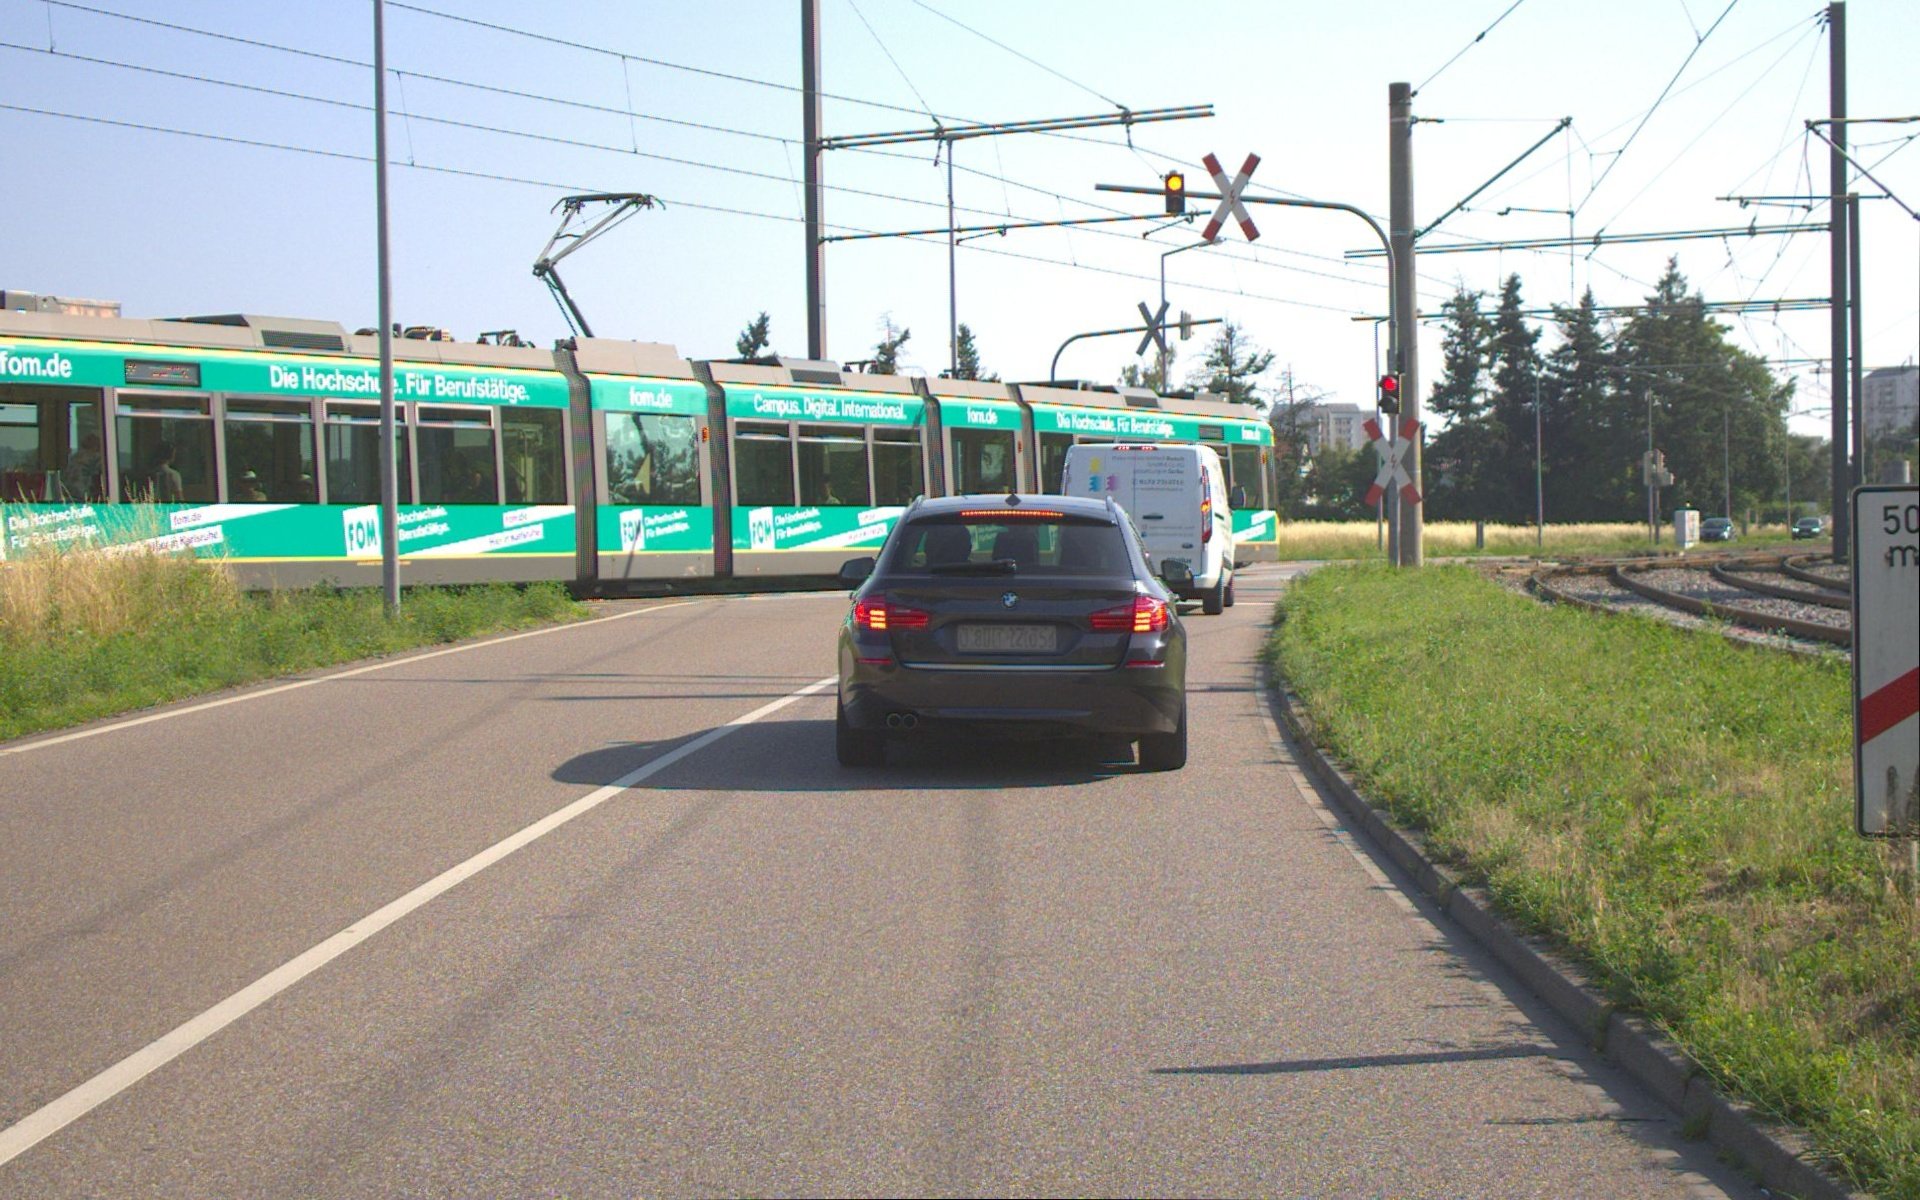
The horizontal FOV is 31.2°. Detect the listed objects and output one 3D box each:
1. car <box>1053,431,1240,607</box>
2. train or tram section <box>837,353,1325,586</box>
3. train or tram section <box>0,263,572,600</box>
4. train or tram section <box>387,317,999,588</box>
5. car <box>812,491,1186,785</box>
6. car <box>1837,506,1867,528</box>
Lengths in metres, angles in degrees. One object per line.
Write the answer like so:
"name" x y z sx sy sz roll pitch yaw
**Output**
"car" 2.318 -0.987 41.549 1.858 1.981 5.107 1 2 8
"train or tram section" 2.596 -2.154 62.249 2.911 3.556 14.239 2 0 27
"train or tram section" -9.218 -1.837 39.758 2.955 3.472 12.147 2 2 28
"train or tram section" -3.503 -1.964 50.544 2.922 3.442 12.147 2 1 27
"car" 0.291 0.115 19.633 1.869 1.447 4.744 0 2 2
"car" 65.792 -6.121 253.535 1.708 1.659 4.585 1 2 19
